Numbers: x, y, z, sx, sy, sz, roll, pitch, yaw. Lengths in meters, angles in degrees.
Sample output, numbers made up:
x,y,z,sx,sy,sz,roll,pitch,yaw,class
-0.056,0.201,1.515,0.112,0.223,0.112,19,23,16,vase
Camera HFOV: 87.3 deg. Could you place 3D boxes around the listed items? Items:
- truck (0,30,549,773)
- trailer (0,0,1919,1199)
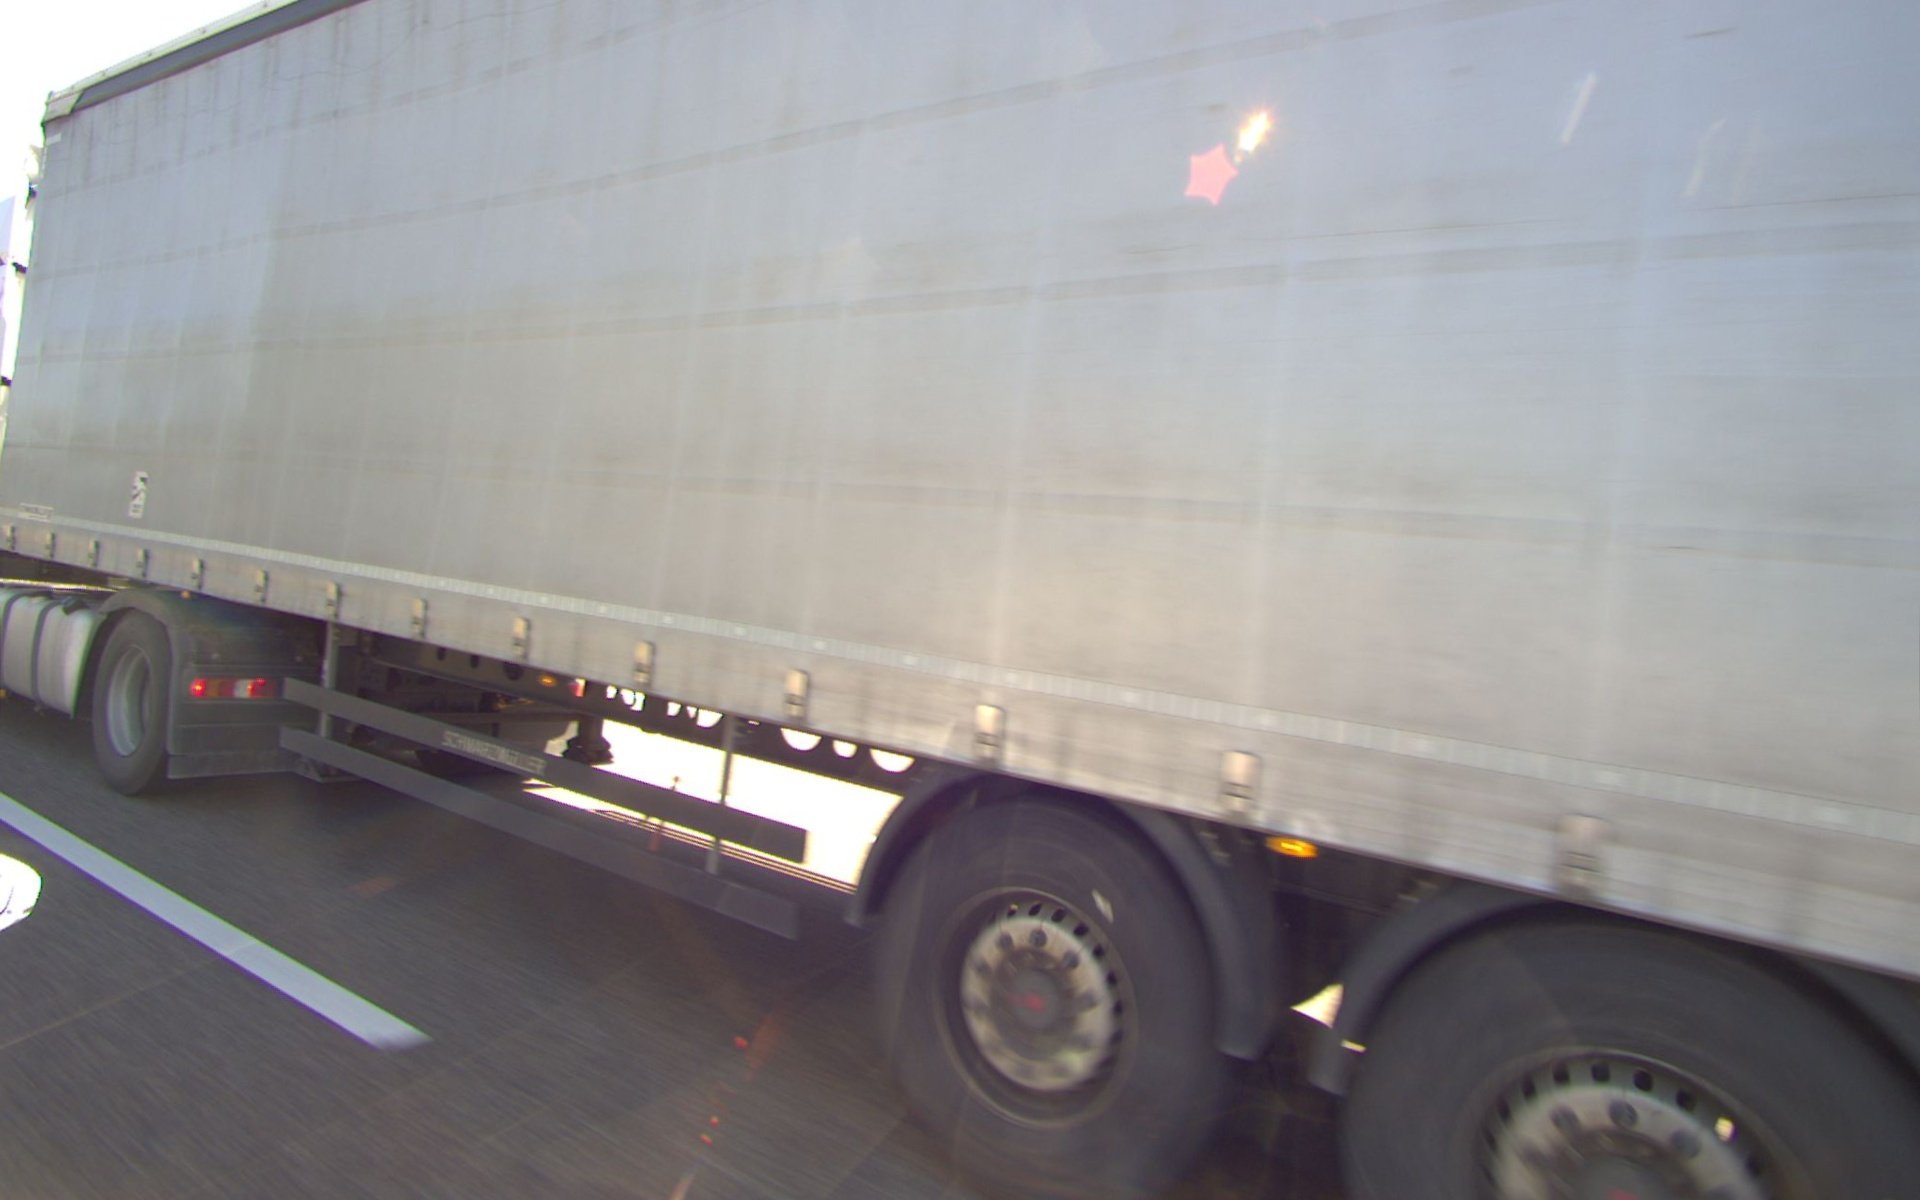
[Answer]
x,y,z,sx,sy,sz,roll,pitch,yaw,class
-6.835,-1.246,8.386,6.346,4.142,2.705,6,-1,31,truck
-0.751,-0.645,4.663,14.502,4.116,2.712,6,-1,32,trailer
